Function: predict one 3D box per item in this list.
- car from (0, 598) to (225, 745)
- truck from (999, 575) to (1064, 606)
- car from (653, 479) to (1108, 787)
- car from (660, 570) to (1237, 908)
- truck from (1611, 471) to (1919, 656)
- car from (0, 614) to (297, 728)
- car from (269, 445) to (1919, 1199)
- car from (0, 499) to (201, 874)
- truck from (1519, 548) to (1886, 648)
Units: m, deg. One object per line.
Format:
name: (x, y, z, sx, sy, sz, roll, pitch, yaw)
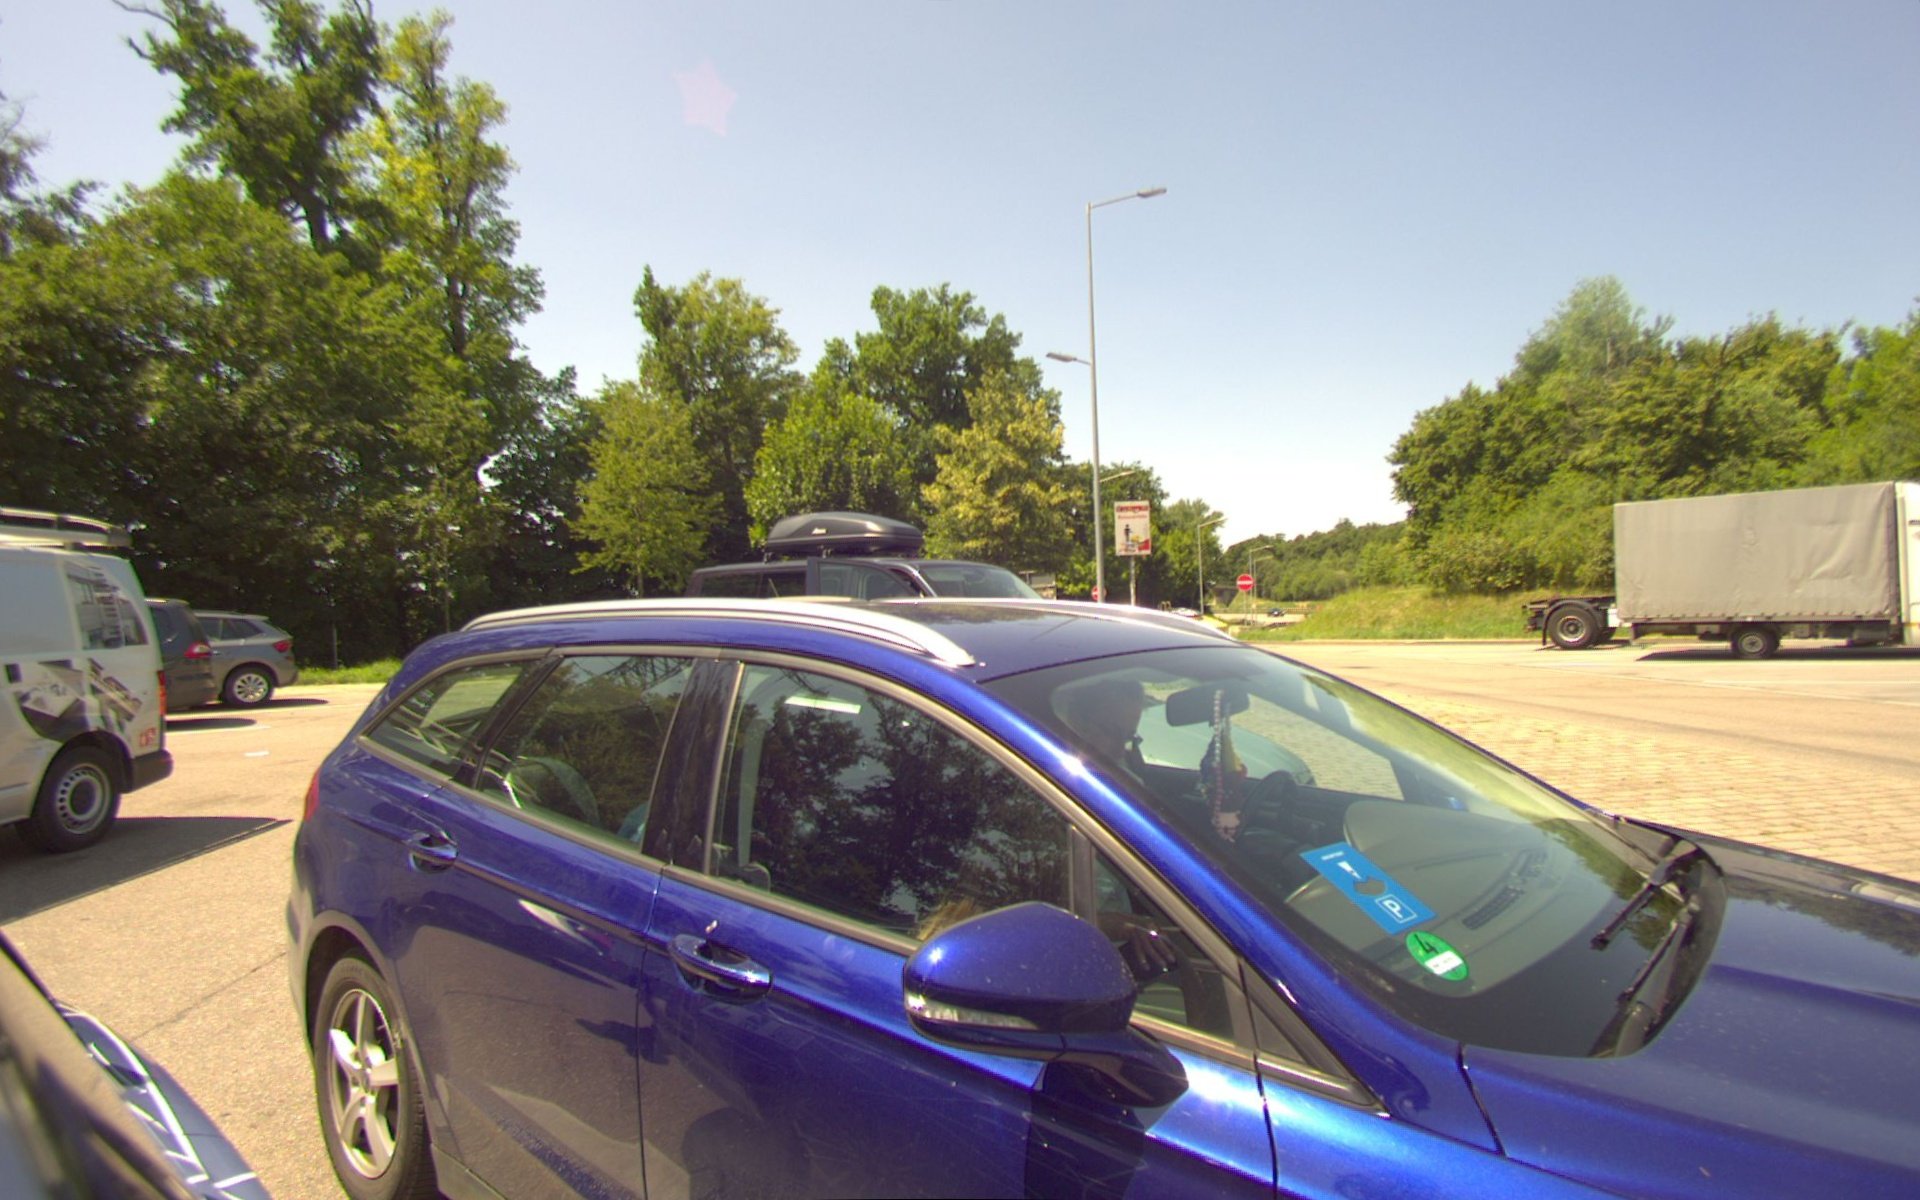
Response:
car: (-11.649, 0.860, 12.617, 1.755, 1.701, 3.798, -2, -1, 45)
truck: (3.453, -0.455, 48.763, 2.866, 1.386, 1.158, -2, -1, 22)
car: (-0.859, 0.314, 9.573, 4.076, 2.336, 1.767, -2, -1, 35)
car: (-0.218, 0.599, 5.640, 3.112, 1.370, 1.326, -2, -1, 41)
truck: (16.593, -0.609, 18.808, 7.253, 3.175, 2.148, -2, -1, 41)
car: (-12.547, 1.002, 15.720, 3.535, 1.513, 1.708, -1, 0, -42)
car: (0.271, 0.643, 2.051, 4.411, 1.429, 1.721, -2, -1, 41)
car: (-6.255, 0.473, 4.662, 1.816, 2.121, 5.440, 0, -1, -5)
truck: (16.961, 0.051, 23.540, 6.613, 2.029, 1.973, -2, -1, 41)
